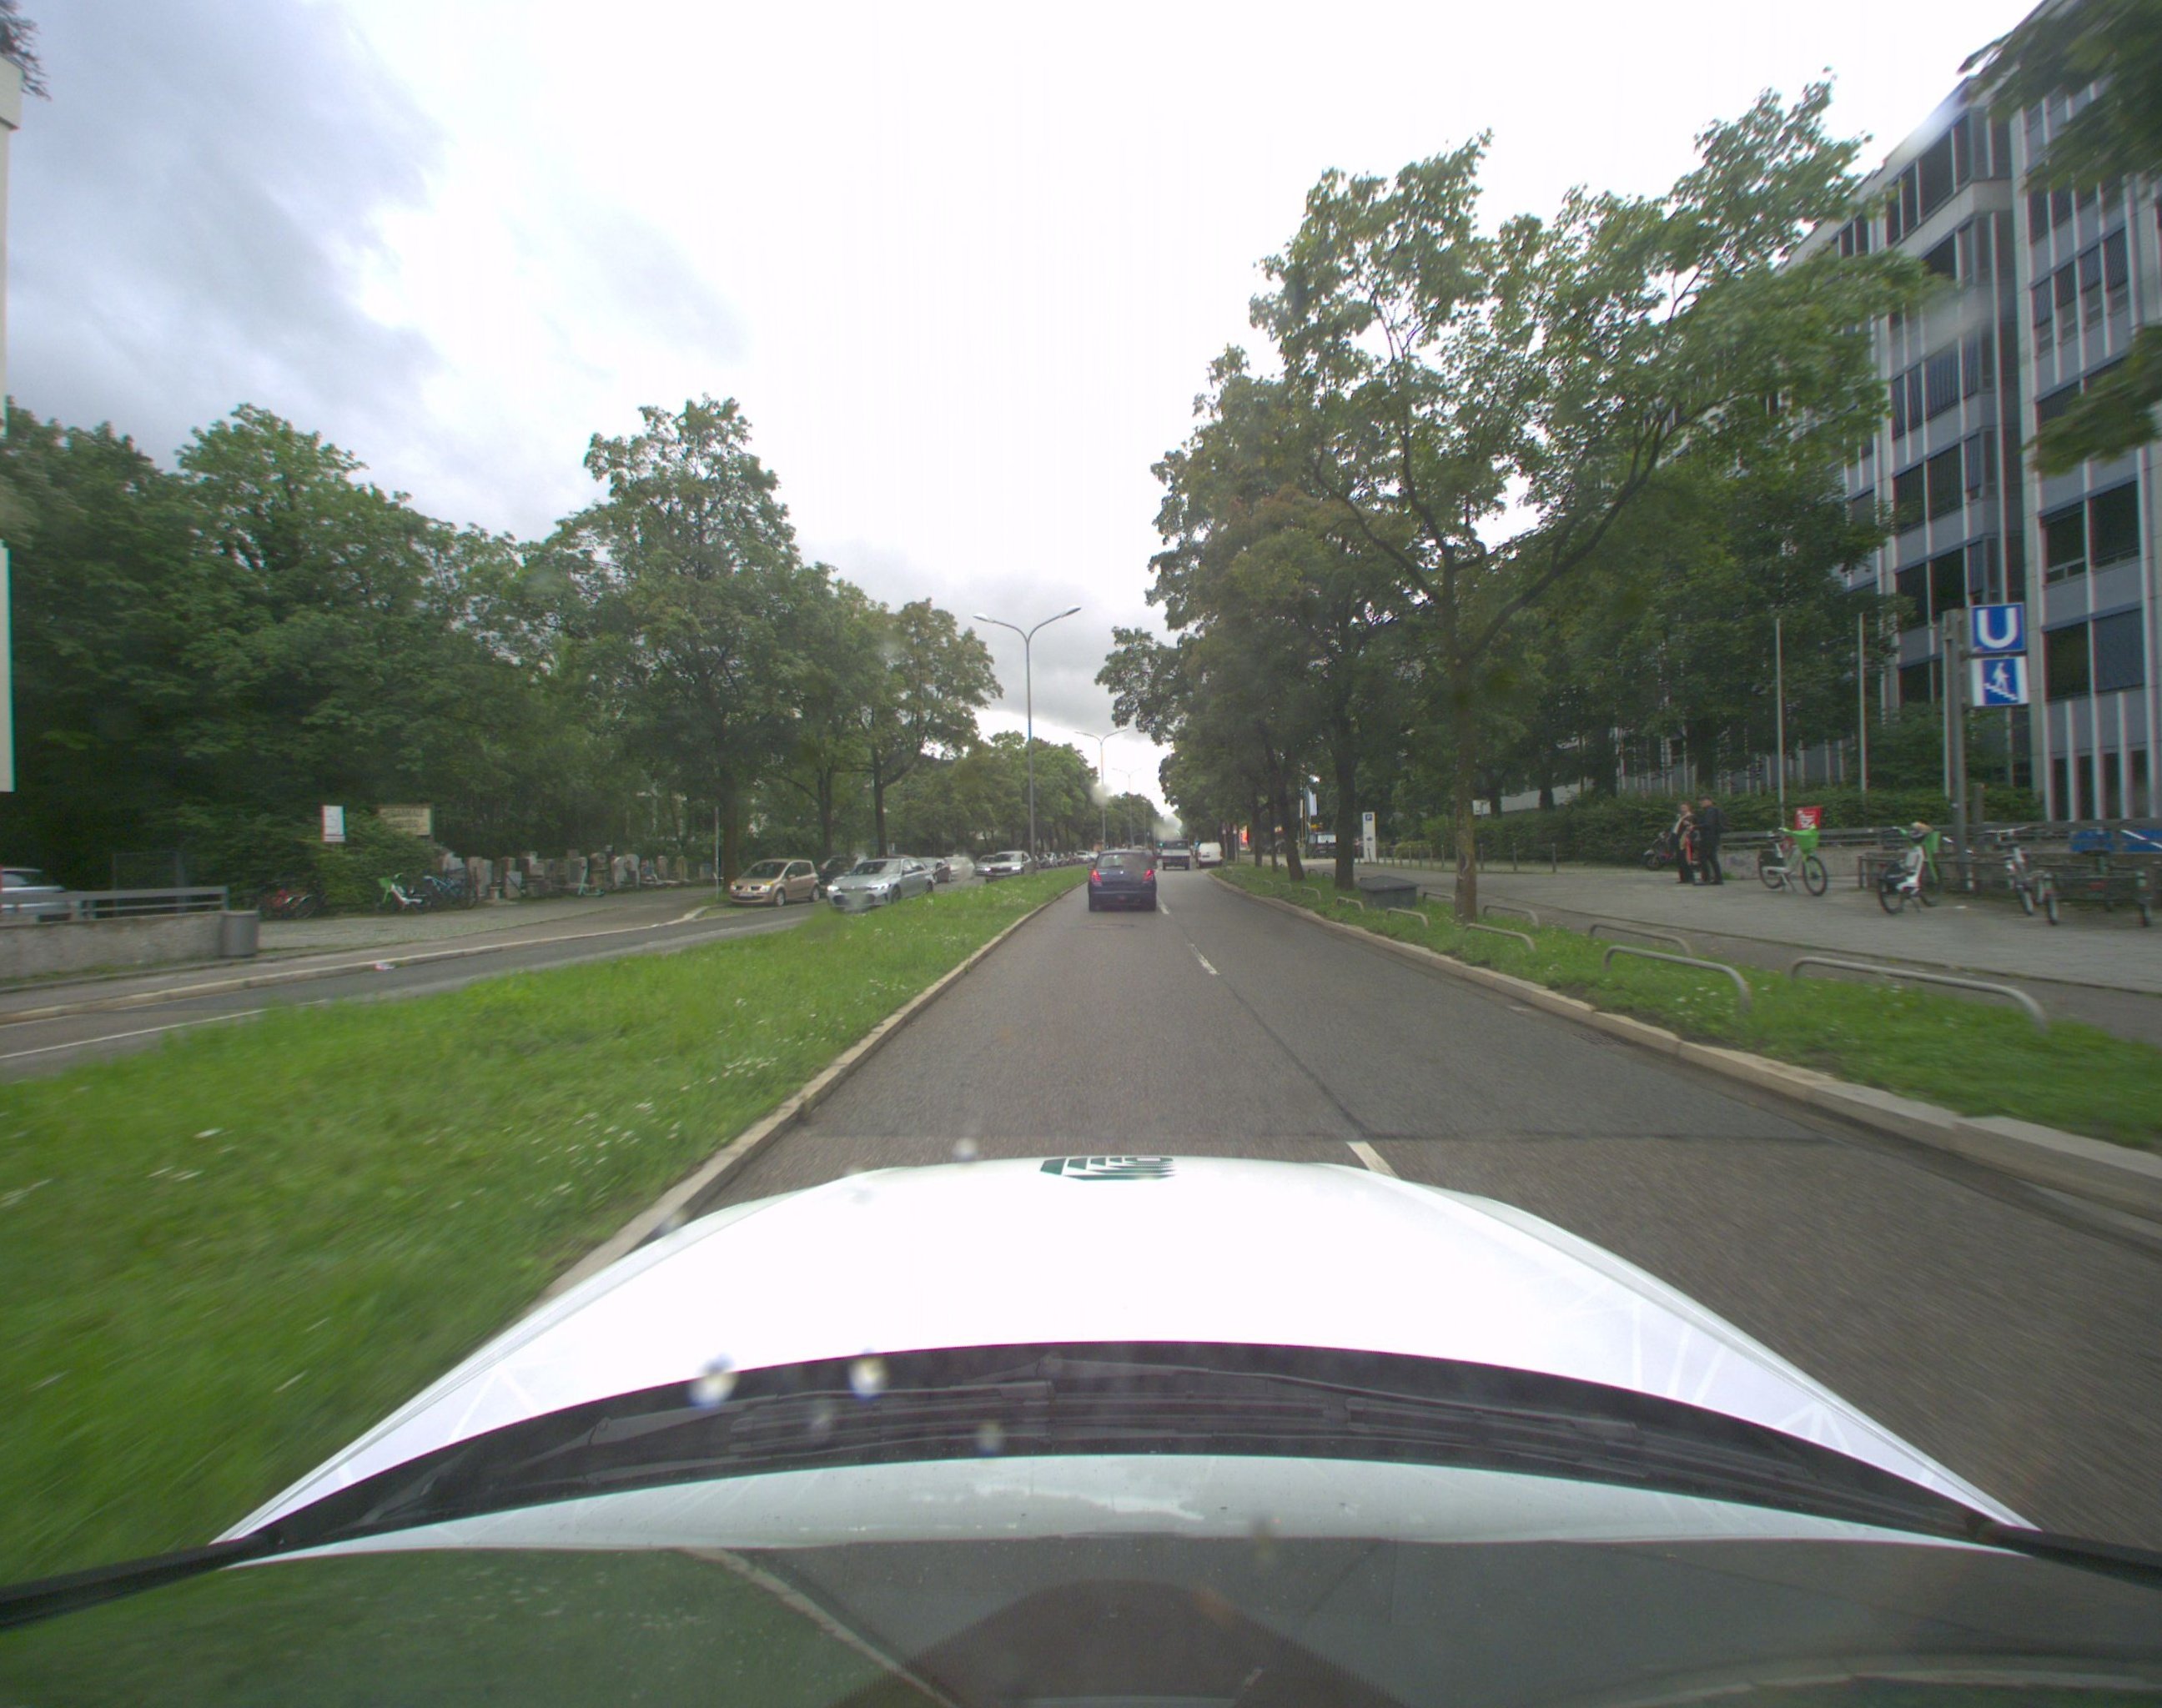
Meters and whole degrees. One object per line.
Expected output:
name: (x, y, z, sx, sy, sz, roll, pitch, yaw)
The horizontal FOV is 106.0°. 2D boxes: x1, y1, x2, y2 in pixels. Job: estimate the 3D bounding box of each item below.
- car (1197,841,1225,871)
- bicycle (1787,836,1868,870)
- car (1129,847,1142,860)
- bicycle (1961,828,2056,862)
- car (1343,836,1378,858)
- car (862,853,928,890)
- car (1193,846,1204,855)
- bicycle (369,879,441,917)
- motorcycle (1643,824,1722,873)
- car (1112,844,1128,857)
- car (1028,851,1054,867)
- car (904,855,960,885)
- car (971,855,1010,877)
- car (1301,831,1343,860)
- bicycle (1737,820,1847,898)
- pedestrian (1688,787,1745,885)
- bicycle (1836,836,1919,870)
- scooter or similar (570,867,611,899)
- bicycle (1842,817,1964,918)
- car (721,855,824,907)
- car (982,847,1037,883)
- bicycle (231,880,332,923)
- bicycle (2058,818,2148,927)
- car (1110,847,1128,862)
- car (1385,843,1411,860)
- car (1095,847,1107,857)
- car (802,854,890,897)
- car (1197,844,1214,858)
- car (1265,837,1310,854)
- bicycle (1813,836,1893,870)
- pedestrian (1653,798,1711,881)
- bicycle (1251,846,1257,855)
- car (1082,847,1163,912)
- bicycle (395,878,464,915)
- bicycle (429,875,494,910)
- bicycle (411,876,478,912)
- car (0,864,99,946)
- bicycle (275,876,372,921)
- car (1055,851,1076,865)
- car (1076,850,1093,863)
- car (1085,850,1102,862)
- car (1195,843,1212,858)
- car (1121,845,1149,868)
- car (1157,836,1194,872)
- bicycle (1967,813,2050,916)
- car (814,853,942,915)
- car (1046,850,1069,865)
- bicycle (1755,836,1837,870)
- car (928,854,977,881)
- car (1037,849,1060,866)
car: (10.200, 0.117, 64.334, 1.976, 2.157, 5.567, -2, 0, 8)
bicycle: (20.116, -0.047, 21.988, 0.550, 0.853, 1.836, -2, 1, 3)
car: (9.170, -0.048, 136.642, 1.771, 2.029, 4.828, -2, 0, 7)
bicycle: (24.598, -0.253, 21.637, 0.556, 0.853, 1.775, -2, 1, 3)
car: (24.300, -0.630, 70.975, 1.833, 1.818, 4.479, -2, 0, 6)
car: (-8.958, 0.789, 39.563, 1.730, 1.651, 4.614, 0, 1, 6)
car: (20.450, -0.576, 141.800, 1.751, 1.453, 4.642, -4, 0, 7)
bicycle: (-19.095, 1.236, 23.003, 1.753, 1.007, 0.437, -2, 0, 6)
motorcycle: (17.407, -0.155, 23.638, 0.548, 1.318, 2.068, -2, 0, -7)
car: (5.248, -0.416, 109.589, 1.824, 1.642, 4.359, -2, 0, 7)
car: (-3.807, 0.497, 77.941, 1.616, 1.423, 4.202, 1, 1, 8)
car: (-8.101, 0.854, 44.522, 1.729, 1.482, 4.343, 0, 1, 8)
car: (-6.512, 0.812, 59.214, 1.727, 1.448, 4.832, 1, 1, 7)
car: (20.890, -0.751, 70.791, 2.253, 2.306, 6.278, -2, 0, 6)
bicycle: (12.249, 0.044, 14.099, 0.527, 1.226, 1.868, -4, 1, 11)
pedestrian: (12.665, -0.354, 16.252, 0.645, 1.899, 0.753, -2, 0, 21)
bicycle: (21.413, -0.045, 21.933, 0.556, 0.853, 1.775, -2, 1, 3)
scooter or similar: (-18.348, 1.090, 30.459, 0.431, 1.127, 1.296, -2, 0, 20)
bicycle: (11.380, 0.153, 11.260, 1.959, 1.188, 0.592, -5, 2, -27)
car: (-10.536, 0.880, 28.121, 1.637, 1.614, 3.829, 0, 0, 9)
car: (-3.492, 0.494, 40.500, 1.756, 1.624, 4.386, -2, 0, 7)
bicycle: (-22.046, 1.288, 22.516, 0.575, 1.007, 2.037, -2, 0, 8)
bicycle: (12.015, 0.175, 9.575, 1.964, 1.083, 0.590, -5, 2, -38)
car: (6.071, 0.078, 129.602, 2.197, 2.194, 5.811, -3, 0, 7)
car: (27.161, -0.200, 69.822, 1.766, 1.374, 3.988, -1, 0, 25)
car: (3.316, -0.377, 132.548, 1.682, 1.565, 3.084, -2, 0, 5)
car: (-9.642, 0.835, 33.851, 1.729, 1.643, 4.695, 0, 0, 8)
car: (13.535, -0.290, 88.320, 1.691, 1.408, 4.525, -2, 0, 10)
car: (26.965, -1.103, 106.583, 5.441, 2.083, 2.151, -2, 0, 6)
bicycle: (20.808, -0.046, 21.994, 0.556, 0.853, 1.775, -2, 1, 3)
pedestrian: (12.812, -0.306, 17.380, 0.776, 1.714, 0.754, -2, 0, 21)
bicycle: (24.909, -0.530, 117.288, 0.744, 1.183, 2.251, -2, 0, 7)
car: (1.125, 0.590, 21.060, 1.887, 1.499, 3.665, -1, 0, 4)
bicycle: (-19.096, 1.234, 23.879, 1.753, 1.007, 0.437, -2, 0, 6)
bicycle: (-19.092, 1.180, 25.111, 1.753, 1.007, 0.437, -2, 0, 6)
bicycle: (-19.161, 1.203, 24.520, 1.753, 1.007, 0.437, -2, 0, 6)
car: (-23.220, 1.091, 16.912, 3.964, 1.589, 1.753, -2, 0, 8)
bicycle: (-20.905, 1.216, 22.540, 0.575, 1.099, 2.037, -2, 0, 8)
car: (-1.724, 0.444, 93.110, 1.676, 1.597, 4.220, 1, 1, 8)
car: (0.510, 0.331, 109.682, 1.748, 1.594, 4.498, 1, 1, 6)
car: (1.849, 0.280, 119.674, 1.822, 1.609, 4.502, 1, 1, 8)
car: (14.093, -0.427, 93.652, 1.802, 1.675, 4.812, -2, 0, 9)
car: (3.778, 0.147, 56.548, 1.791, 1.499, 3.665, -2, 0, 4)
car: (6.805, 0.008, 58.455, 2.404, 2.444, 5.099, 0, 0, 9)
bicycle: (12.059, 0.103, 10.573, 1.964, 1.108, 0.574, -7, 3, -38)
car: (-5.601, 0.778, 23.240, 1.905, 1.484, 4.873, -2, 0, 6)
car: (-2.498, 0.343, 87.560, 1.707, 1.524, 5.044, 1, 1, 7)
bicycle: (19.298, -0.049, 22.034, 0.679, 0.853, 1.836, -2, 1, 3)
car: (-7.672, 0.788, 49.079, 1.729, 1.529, 4.485, 0, 1, 8)
car: (-3.216, 0.319, 82.385, 1.616, 1.647, 3.876, 1, 1, 8)
